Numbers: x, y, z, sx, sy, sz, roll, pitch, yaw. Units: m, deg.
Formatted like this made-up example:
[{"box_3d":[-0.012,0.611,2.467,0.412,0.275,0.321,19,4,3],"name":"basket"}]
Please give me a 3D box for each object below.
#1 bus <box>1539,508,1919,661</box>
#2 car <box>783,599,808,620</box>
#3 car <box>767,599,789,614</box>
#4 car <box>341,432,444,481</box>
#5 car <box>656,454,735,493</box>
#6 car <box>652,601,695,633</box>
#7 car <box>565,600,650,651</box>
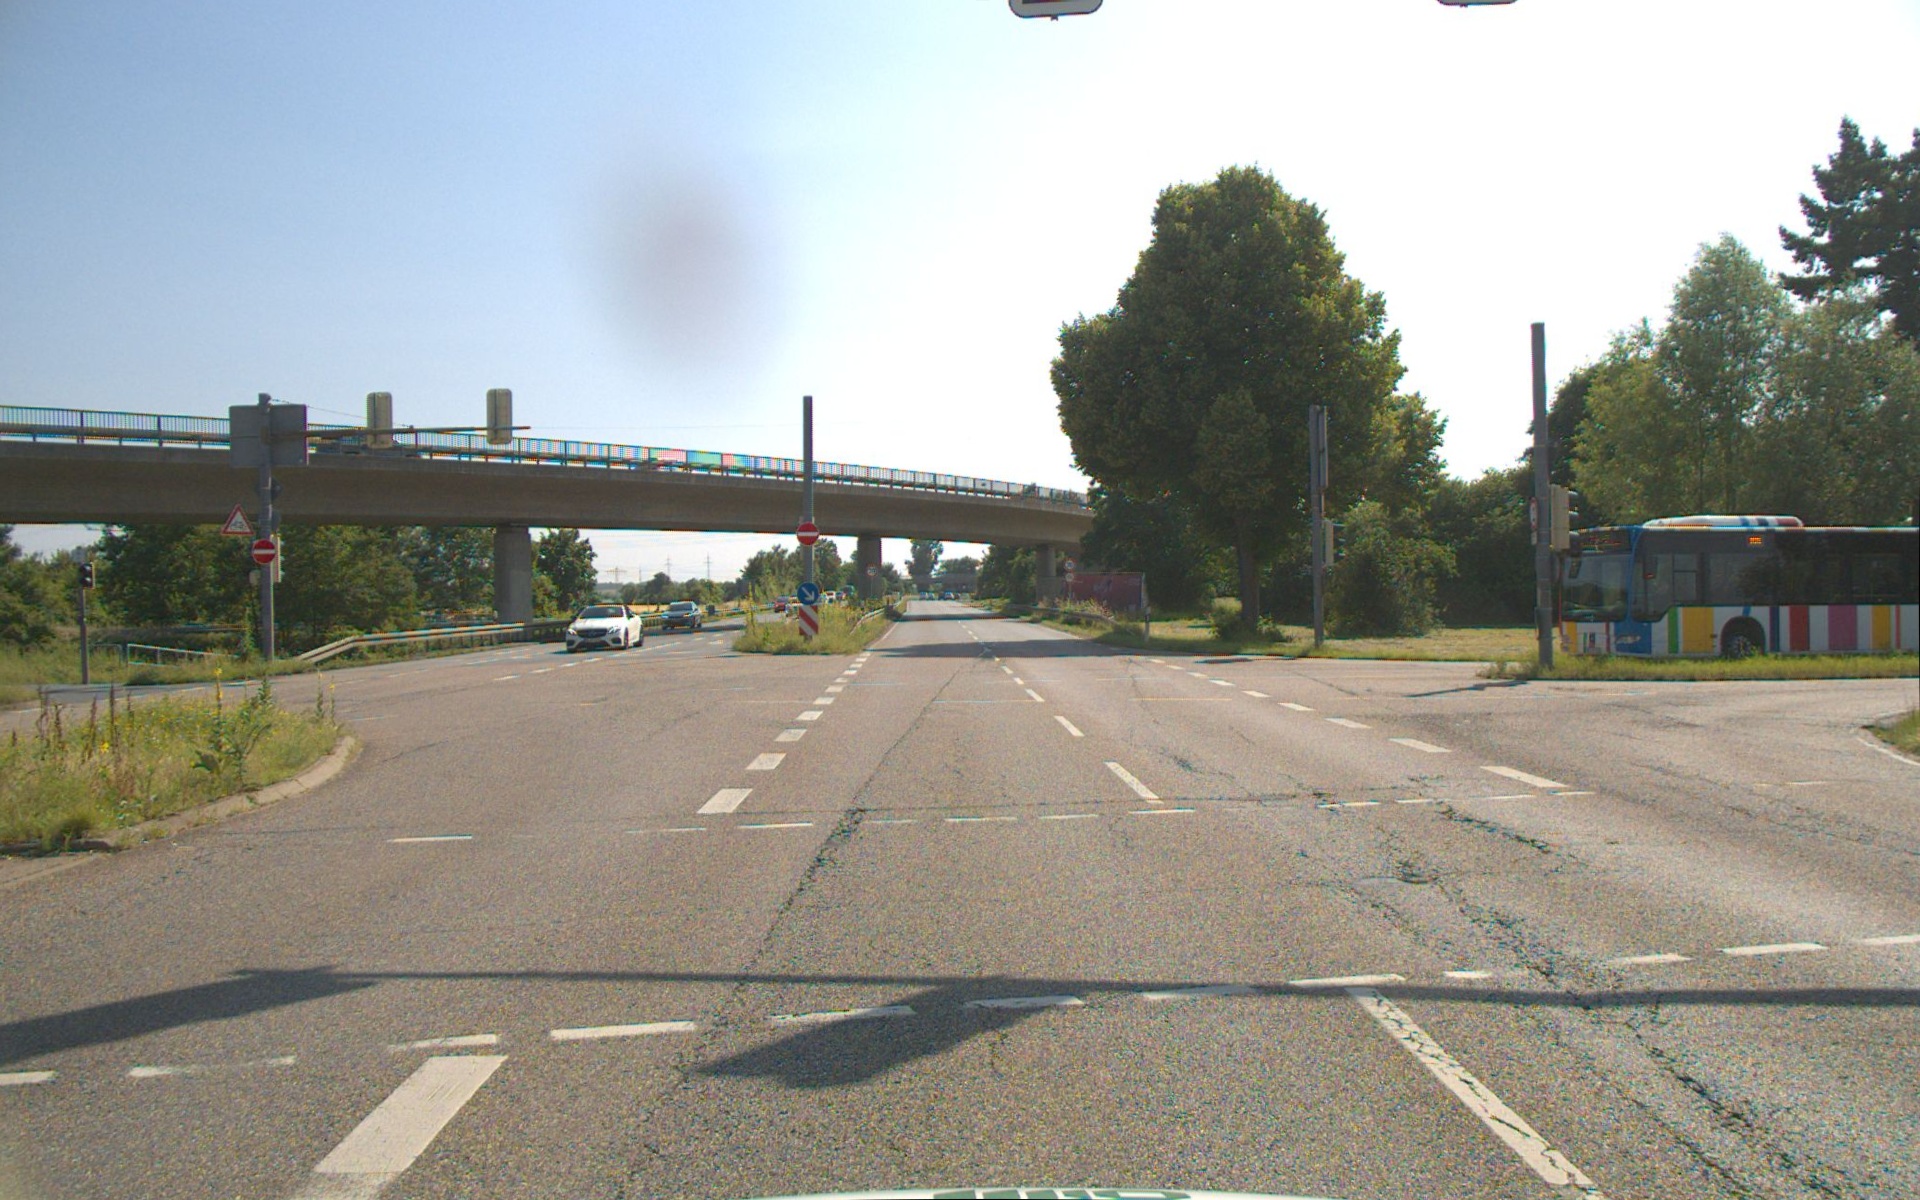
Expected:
[{"box_3d":[18.452,-0.419,35.618,11.745,2.927,2.929,-2,0,-16],"name":"bus"},{"box_3d":[-12.763,0.724,128.488,1.525,1.567,3.999,-2,0,-1],"name":"car"},{"box_3d":[-19.010,0.667,172.551,1.953,1.585,3.998,-2,0,-2],"name":"car"},{"box_3d":[-21.271,-5.368,62.087,1.511,1.503,3.378,-3,-1,36],"name":"car"},{"box_3d":[-12.312,-5.872,77.123,1.705,1.495,3.744,1,-1,28],"name":"car"},{"box_3d":[-15.473,0.890,89.472,1.754,1.656,3.998,-2,0,-2],"name":"car"},{"box_3d":[-11.211,0.784,52.843,1.819,1.473,4.239,-3,0,-2],"name":"car"}]
